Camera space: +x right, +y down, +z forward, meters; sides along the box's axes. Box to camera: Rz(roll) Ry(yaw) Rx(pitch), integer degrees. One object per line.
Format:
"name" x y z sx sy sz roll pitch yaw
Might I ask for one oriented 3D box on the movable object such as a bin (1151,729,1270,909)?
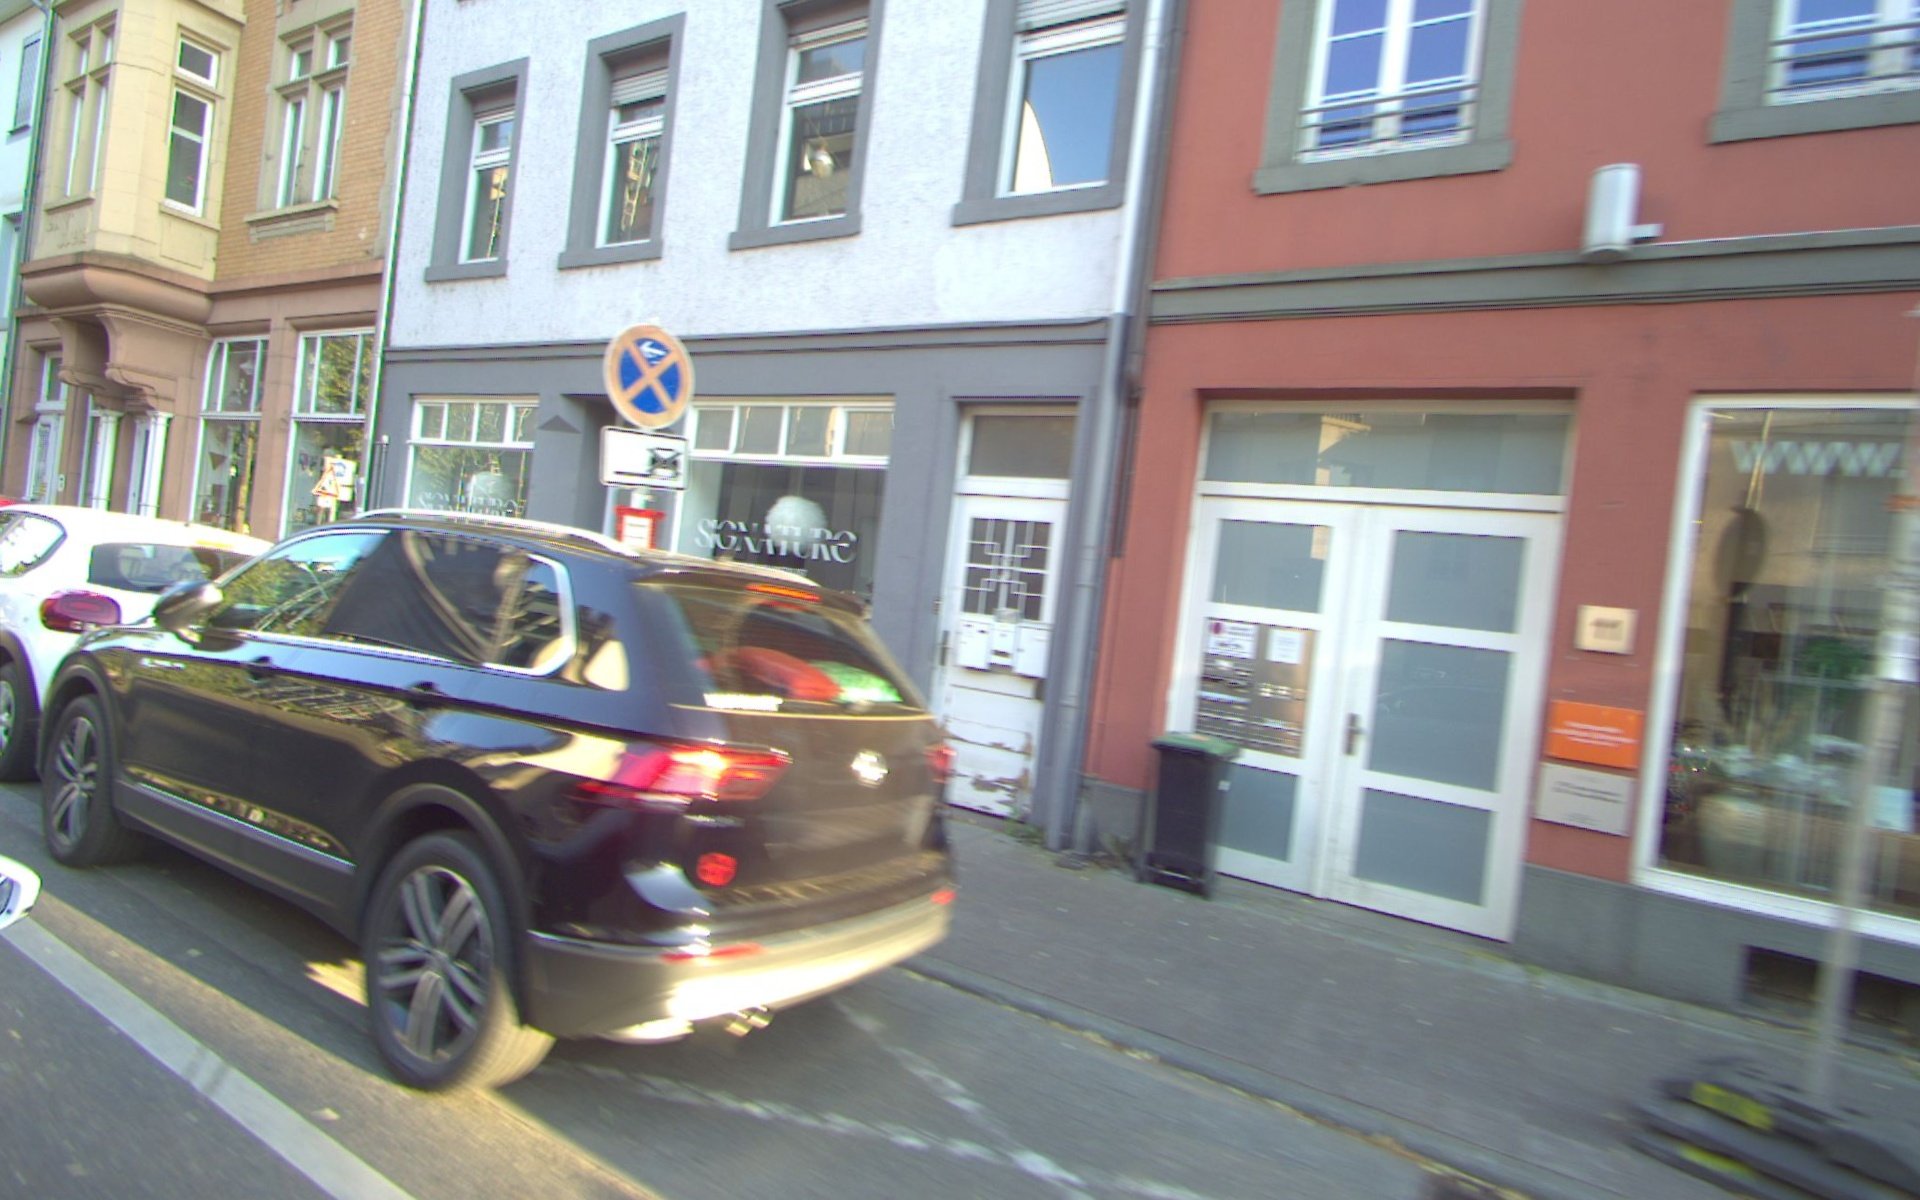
"movable object such as a bin" 1.539 1.306 6.155 0.477 0.949 0.554 7 0 29

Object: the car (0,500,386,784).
"car" -5.765 0.134 6.704 3.739 1.394 1.670 6 -2 32

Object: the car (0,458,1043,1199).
"car" -1.990 0.481 4.178 4.136 1.687 1.815 6 -2 32

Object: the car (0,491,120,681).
"car" -9.113 -0.273 8.895 3.213 1.501 1.590 6 -2 33
